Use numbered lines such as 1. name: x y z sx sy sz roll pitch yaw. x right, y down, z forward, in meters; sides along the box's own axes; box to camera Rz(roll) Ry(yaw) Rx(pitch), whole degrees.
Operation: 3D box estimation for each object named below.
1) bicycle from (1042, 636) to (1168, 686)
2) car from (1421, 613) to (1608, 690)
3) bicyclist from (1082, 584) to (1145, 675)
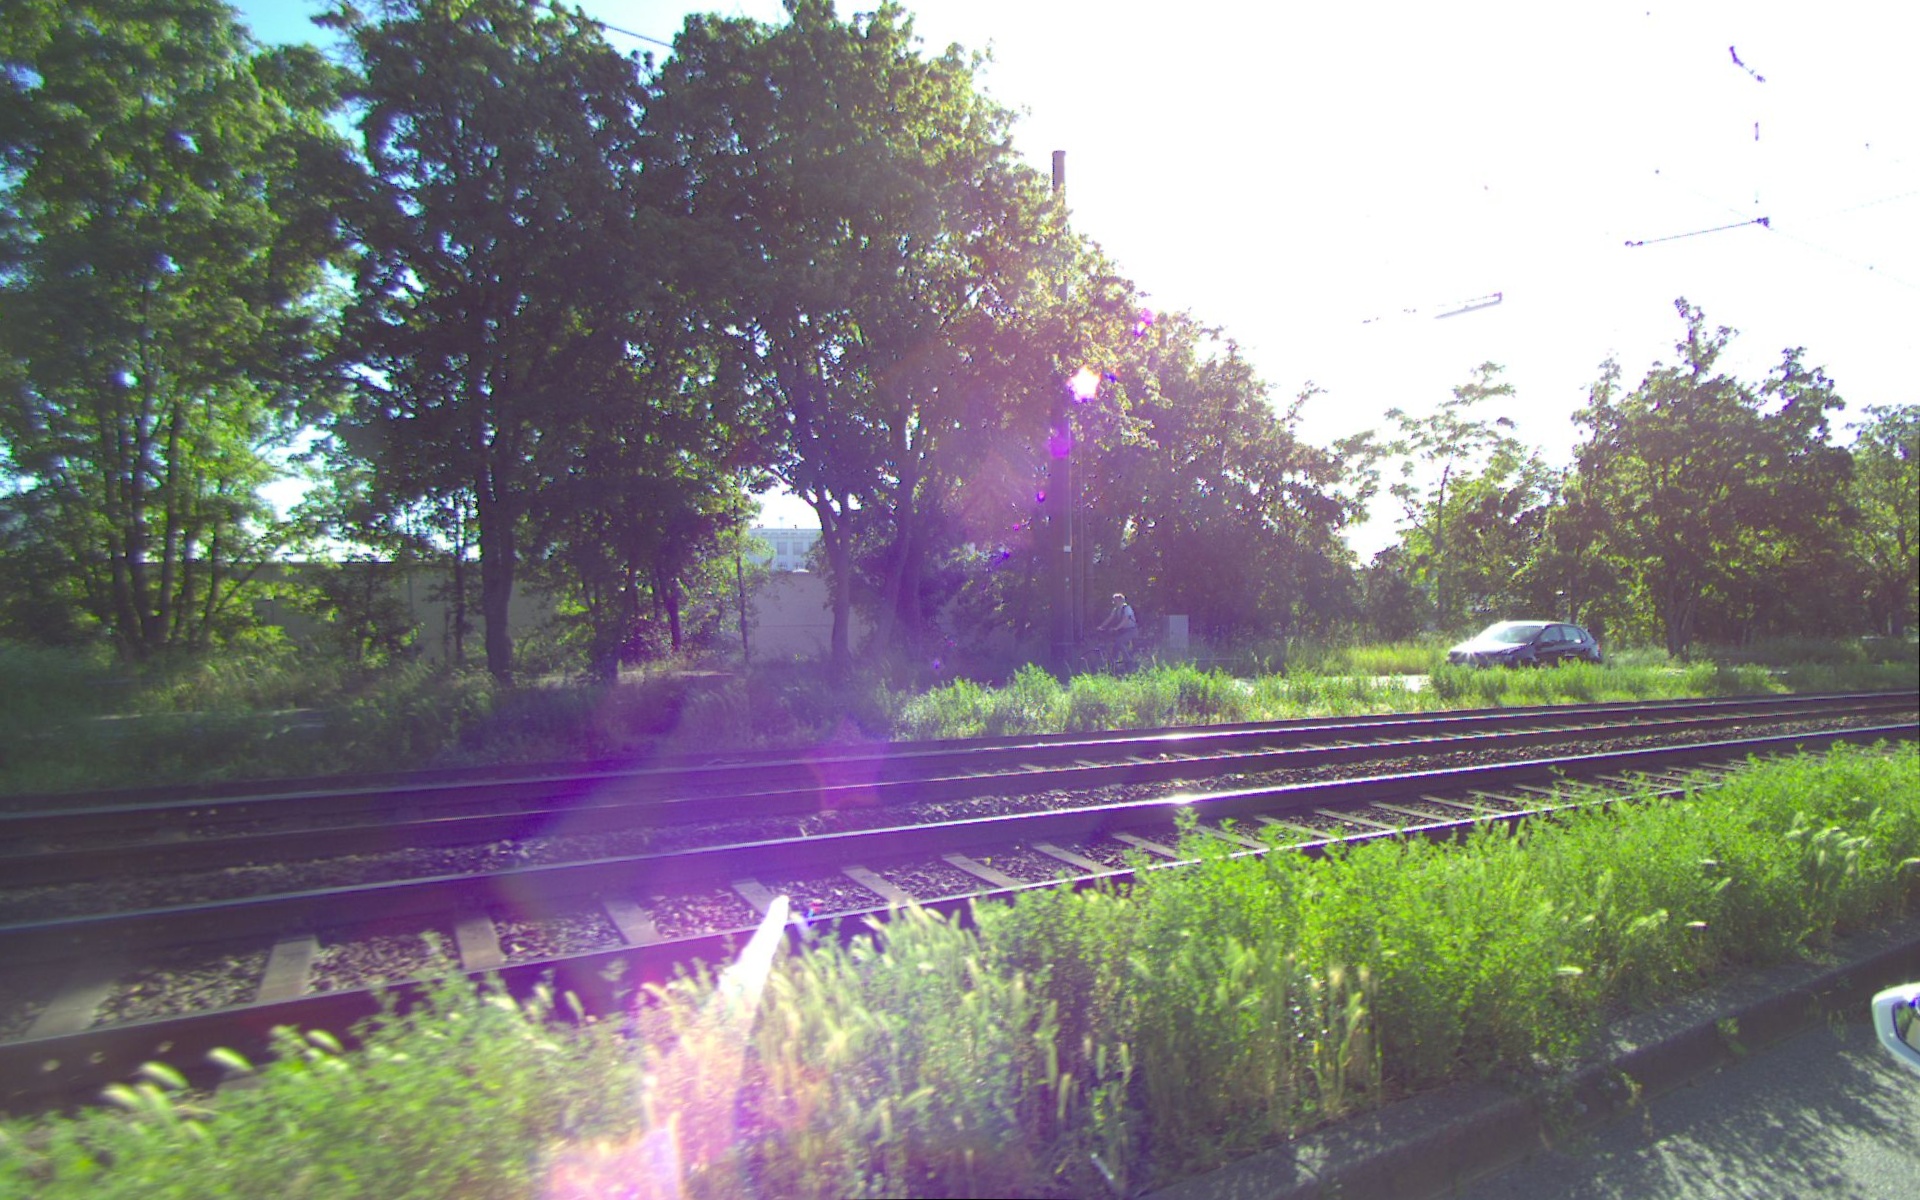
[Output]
1. bicycle: 2.896 1.192 19.982 2.507 0.926 0.814 1 0 -30
2. car: 11.992 1.065 21.678 3.951 1.499 1.703 1 0 -29
3. bicyclist: 3.060 0.571 20.046 0.891 1.759 0.815 1 0 -29
